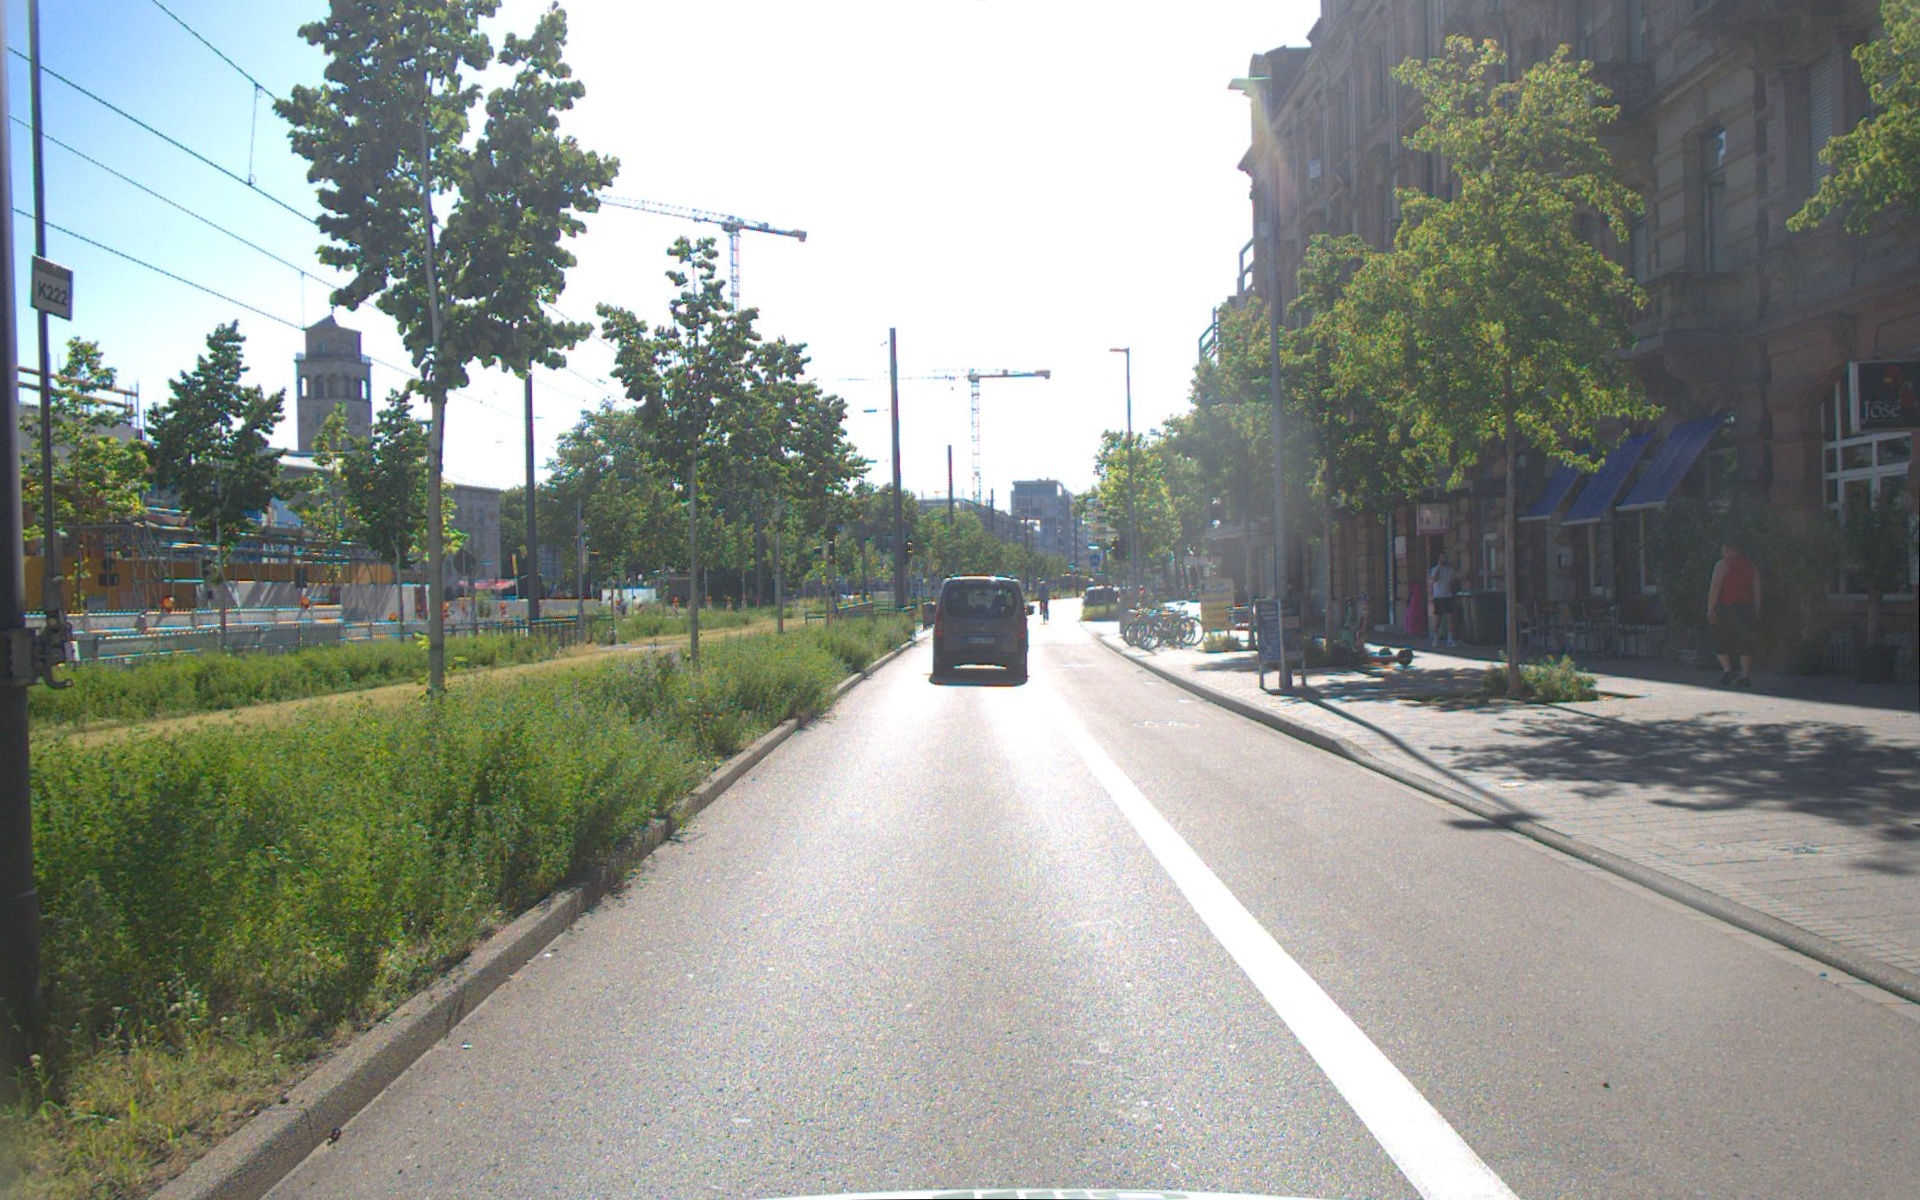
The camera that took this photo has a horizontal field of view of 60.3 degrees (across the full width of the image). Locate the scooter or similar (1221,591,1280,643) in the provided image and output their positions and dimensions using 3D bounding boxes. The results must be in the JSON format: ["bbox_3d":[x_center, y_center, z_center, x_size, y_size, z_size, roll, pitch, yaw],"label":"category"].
[{"bbox_3d":[6.723,0.377,38.298,1.194,1.125,0.783,-3,1,2],"label":"scooter or similar"}]

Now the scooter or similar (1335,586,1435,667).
[{"bbox_3d":[7.071,0.429,27.561,1.445,1.237,0.601,-3,1,-5],"label":"scooter or similar"}]

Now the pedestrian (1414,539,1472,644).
[{"bbox_3d":[9.658,-0.162,33.100,0.801,2.049,1.046,0,-2,-1],"label":"pedestrian"}]

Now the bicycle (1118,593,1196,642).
[{"bbox_3d":[5.254,0.463,44.182,1.879,1.140,0.664,-5,0,-7],"label":"bicycle"}]

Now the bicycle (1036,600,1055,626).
[{"bbox_3d":[3.717,0.560,72.116,0.687,1.110,2.277,-1,0,-1],"label":"bicycle"}]

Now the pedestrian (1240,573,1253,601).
[{"bbox_3d":[17.377,-0.772,100.368,0.685,1.681,0.724,-1,0,8],"label":"pedestrian"}]

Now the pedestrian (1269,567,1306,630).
[{"bbox_3d":[9.427,-0.036,47.684,0.827,1.772,0.886,-2,-1,0],"label":"pedestrian"}]

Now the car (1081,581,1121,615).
[{"bbox_3d":[7.097,-0.098,83.330,1.946,1.666,4.191,0,0,4],"label":"car"}]

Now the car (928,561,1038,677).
[{"bbox_3d":[0.397,0.343,31.366,1.953,2.049,3.999,0,0,0],"label":"car"}]

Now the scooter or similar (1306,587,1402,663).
[{"bbox_3d":[6.743,0.419,28.298,1.447,1.238,0.600,2,0,-11],"label":"scooter or similar"}]

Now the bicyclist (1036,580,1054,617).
[{"bbox_3d":[3.707,-0.075,72.205,0.669,1.612,0.839,-1,0,-1],"label":"bicyclist"}]

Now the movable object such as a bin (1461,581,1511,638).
[{"bbox_3d":[10.489,0.188,33.001,0.711,1.117,0.747,-1,0,-5],"label":"movable object such as a bin"}]

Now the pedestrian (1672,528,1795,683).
[{"bbox_3d":[9.236,0.065,19.780,0.976,1.761,0.866,-3,-1,-1],"label":"pedestrian"}]

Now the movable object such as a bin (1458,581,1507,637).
[{"bbox_3d":[10.663,0.173,33.770,0.711,1.117,0.747,-1,0,-5],"label":"movable object such as a bin"}]

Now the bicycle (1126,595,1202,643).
[{"bbox_3d":[5.252,0.497,42.666,1.790,1.097,0.664,-4,0,-7],"label":"bicycle"}]

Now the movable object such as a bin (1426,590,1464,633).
[{"bbox_3d":[10.637,0.245,36.272,0.592,0.932,0.650,-1,0,-5],"label":"movable object such as a bin"}]

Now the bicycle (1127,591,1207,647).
[{"bbox_3d":[5.139,0.469,41.129,1.843,1.255,0.499,-4,0,-6],"label":"bicycle"}]

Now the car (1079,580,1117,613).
[{"bbox_3d":[7.483,-0.179,89.652,1.979,1.752,4.121,0,0,4],"label":"car"}]
